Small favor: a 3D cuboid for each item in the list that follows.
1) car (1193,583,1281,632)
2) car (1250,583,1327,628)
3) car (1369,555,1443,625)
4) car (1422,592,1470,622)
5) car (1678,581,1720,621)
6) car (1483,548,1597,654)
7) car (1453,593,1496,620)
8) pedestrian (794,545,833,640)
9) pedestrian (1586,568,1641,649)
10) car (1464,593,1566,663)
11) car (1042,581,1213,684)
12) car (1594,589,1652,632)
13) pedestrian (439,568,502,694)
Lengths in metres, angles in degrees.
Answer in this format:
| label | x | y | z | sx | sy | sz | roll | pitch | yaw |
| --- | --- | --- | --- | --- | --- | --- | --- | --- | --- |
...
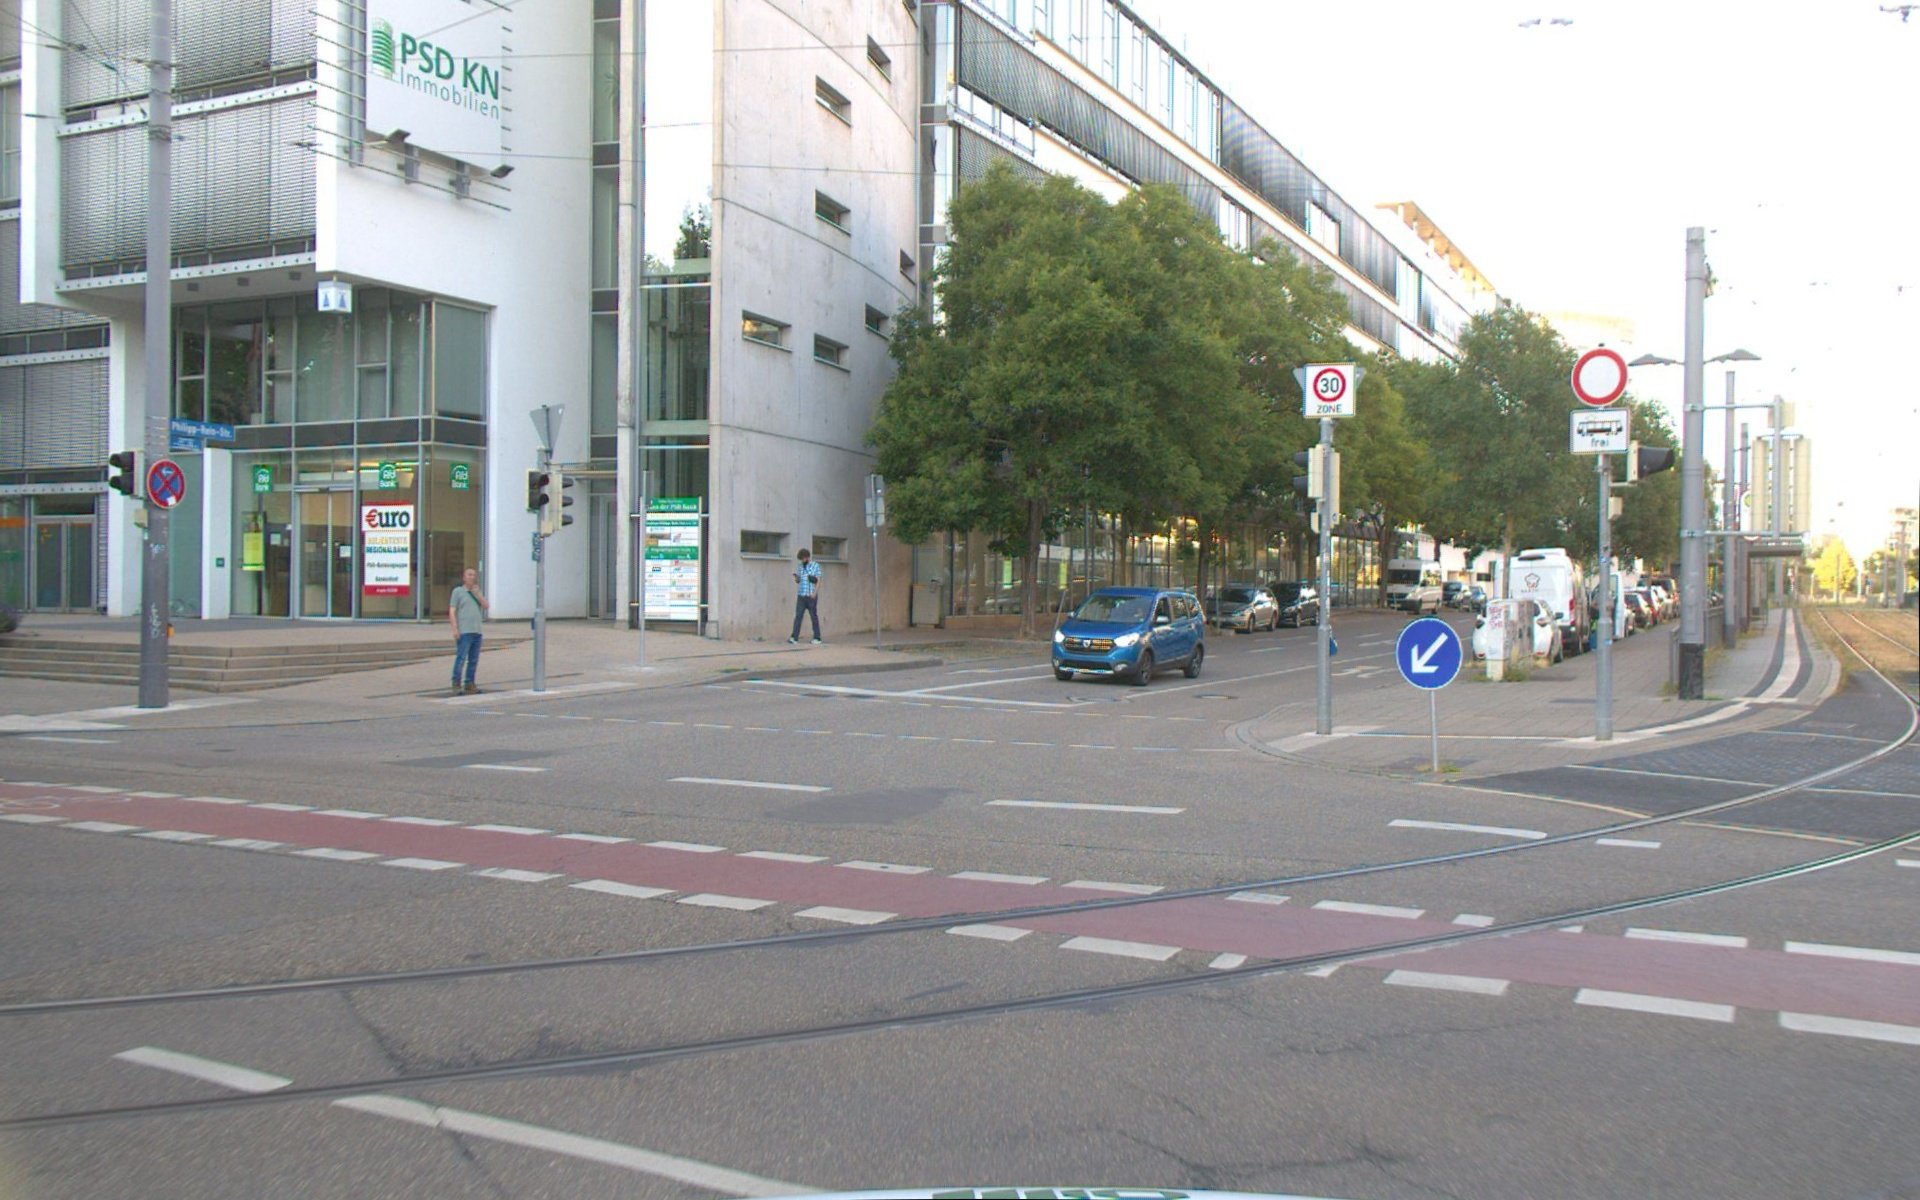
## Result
| label | x | y | z | sx | sy | sz | roll | pitch | yaw |
| --- | --- | --- | --- | --- | --- | --- | --- | --- | --- |
| car | 9.113 | 0.235 | 54.223 | 1.650 | 1.528 | 4.234 | 1 | 0 | 27 |
| car | 11.884 | 0.178 | 59.644 | 1.650 | 1.528 | 4.234 | 1 | 0 | 27 |
| car | 21.390 | -0.480 | 79.147 | 2.159 | 3.207 | 6.135 | 1 | 0 | 27 |
| car | 25.712 | 0.356 | 87.378 | 1.650 | 1.528 | 4.234 | 1 | 0 | 27 |
| car | 38.823 | 0.048 | 86.906 | 1.954 | 2.049 | 3.997 | 1 | 0 | 25 |
| car | 15.114 | -0.002 | 42.883 | 2.411 | 2.526 | 5.807 | 1 | 0 | 23 |
| car | 29.316 | 0.357 | 94.138 | 1.650 | 1.528 | 4.234 | 1 | 0 | 27 |
| pedestrian | -3.024 | -0.155 | 34.103 | 0.648 | 1.956 | 0.548 | 0 | 0 | 16 |
| pedestrian | 16.889 | 0.209 | 42.743 | 1.018 | 2.066 | 0.984 | 1 | 0 | -1 |
| car | 12.582 | 0.594 | 37.354 | 1.650 | 1.464 | 4.122 | 1 | 0 | 26 |
| car | 3.160 | 0.546 | 30.407 | 1.650 | 1.729 | 4.233 | 1 | 0 | 28 |
| car | 23.987 | 0.354 | 59.776 | 1.650 | 1.464 | 4.122 | 1 | 0 | 26 |
| pedestrian | -6.894 | 0.423 | 23.296 | 0.537 | 1.741 | 0.657 | 1 | 0 | 36 |
